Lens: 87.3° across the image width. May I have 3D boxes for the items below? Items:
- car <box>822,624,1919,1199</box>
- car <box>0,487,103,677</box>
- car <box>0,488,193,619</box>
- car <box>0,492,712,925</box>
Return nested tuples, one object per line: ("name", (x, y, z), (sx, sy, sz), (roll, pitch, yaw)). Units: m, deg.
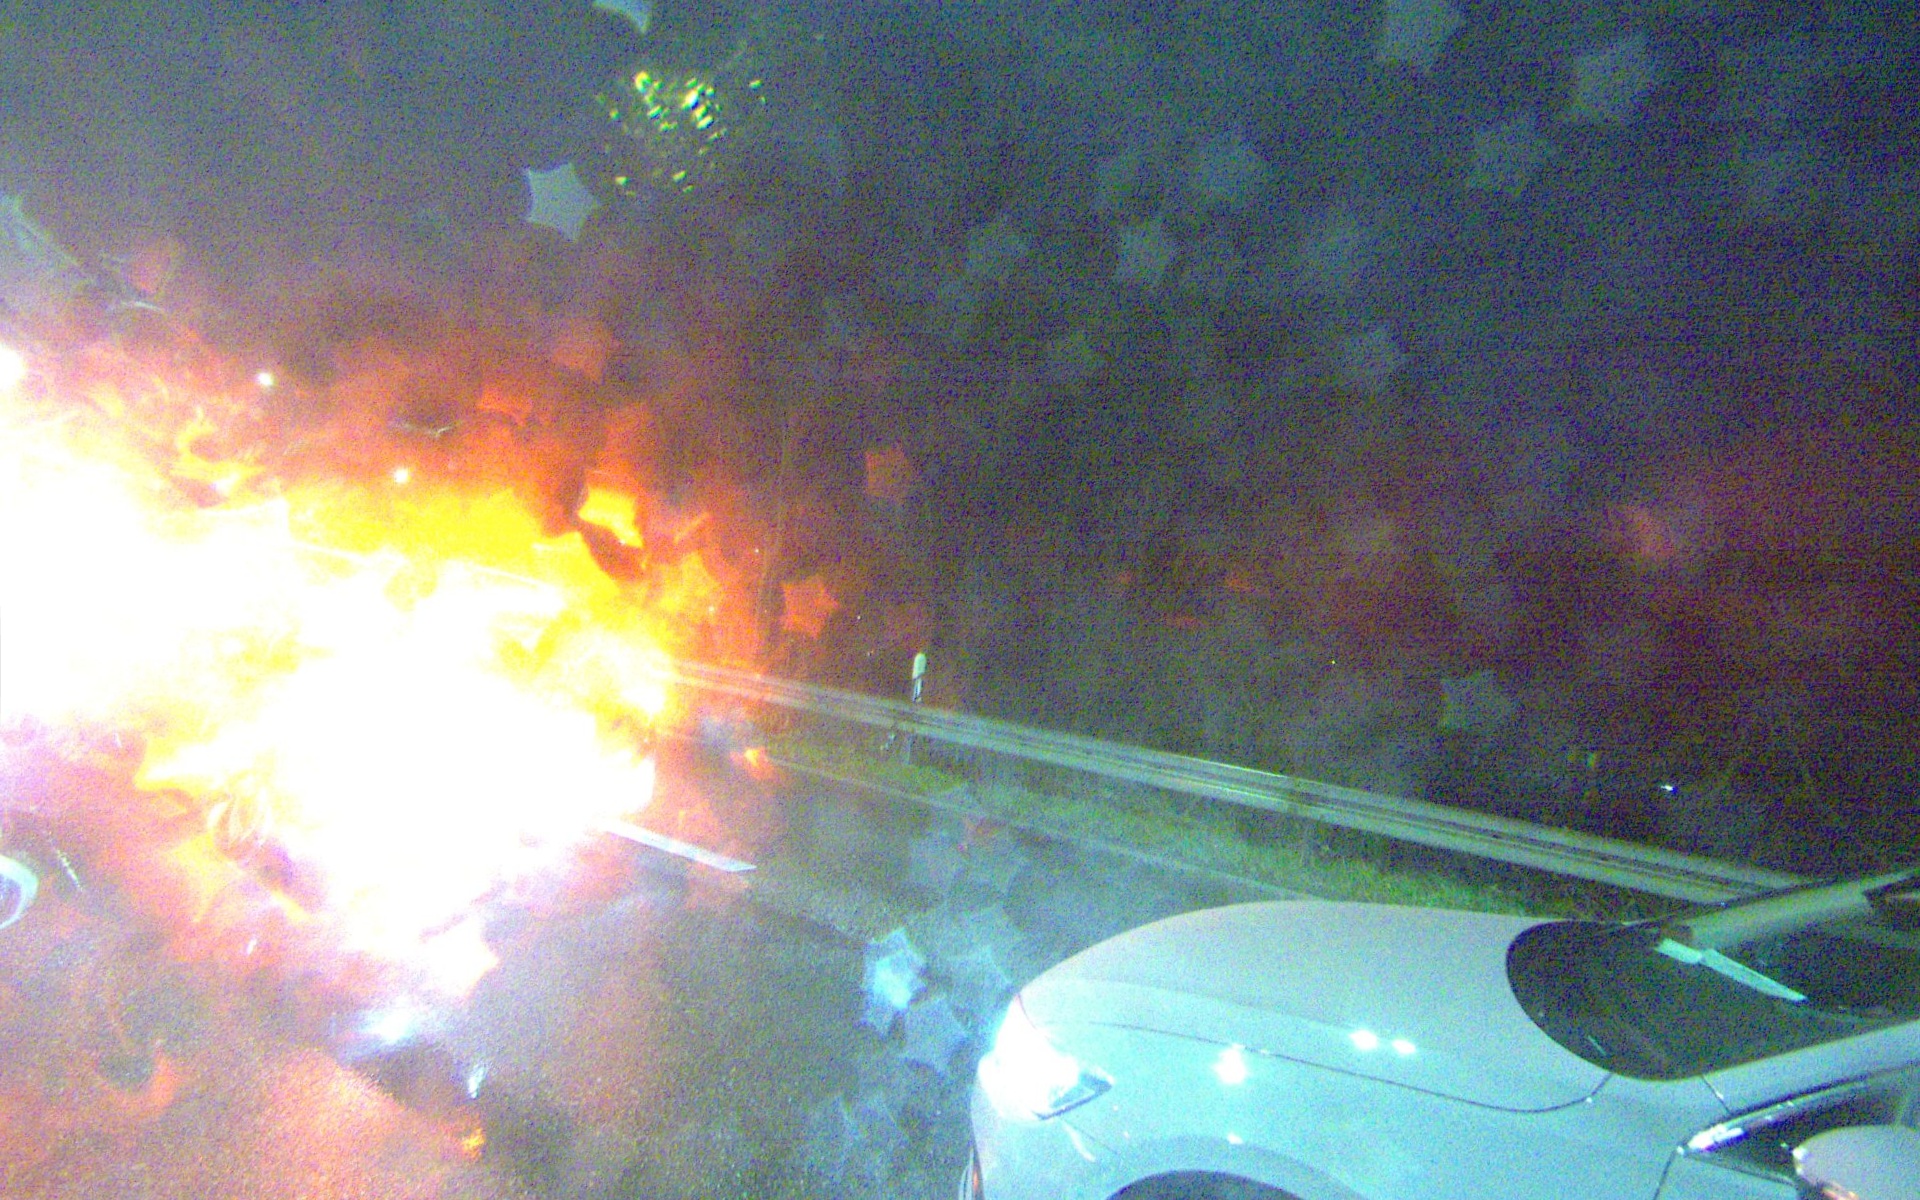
("car", (2.034, 1.094, 1.570), (4.342, 1.539, 1.710), (6, -2, 32))
("car", (-9.699, -0.357, 9.033), (3.893, 1.539, 1.681), (6, -2, 29))
("car", (-13.927, -0.787, 15.312), (4.266, 1.496, 2.000), (6, -4, 31))
("car", (-3.726, 0.388, 5.744), (4.484, 1.522, 1.677), (6, -4, 32))
